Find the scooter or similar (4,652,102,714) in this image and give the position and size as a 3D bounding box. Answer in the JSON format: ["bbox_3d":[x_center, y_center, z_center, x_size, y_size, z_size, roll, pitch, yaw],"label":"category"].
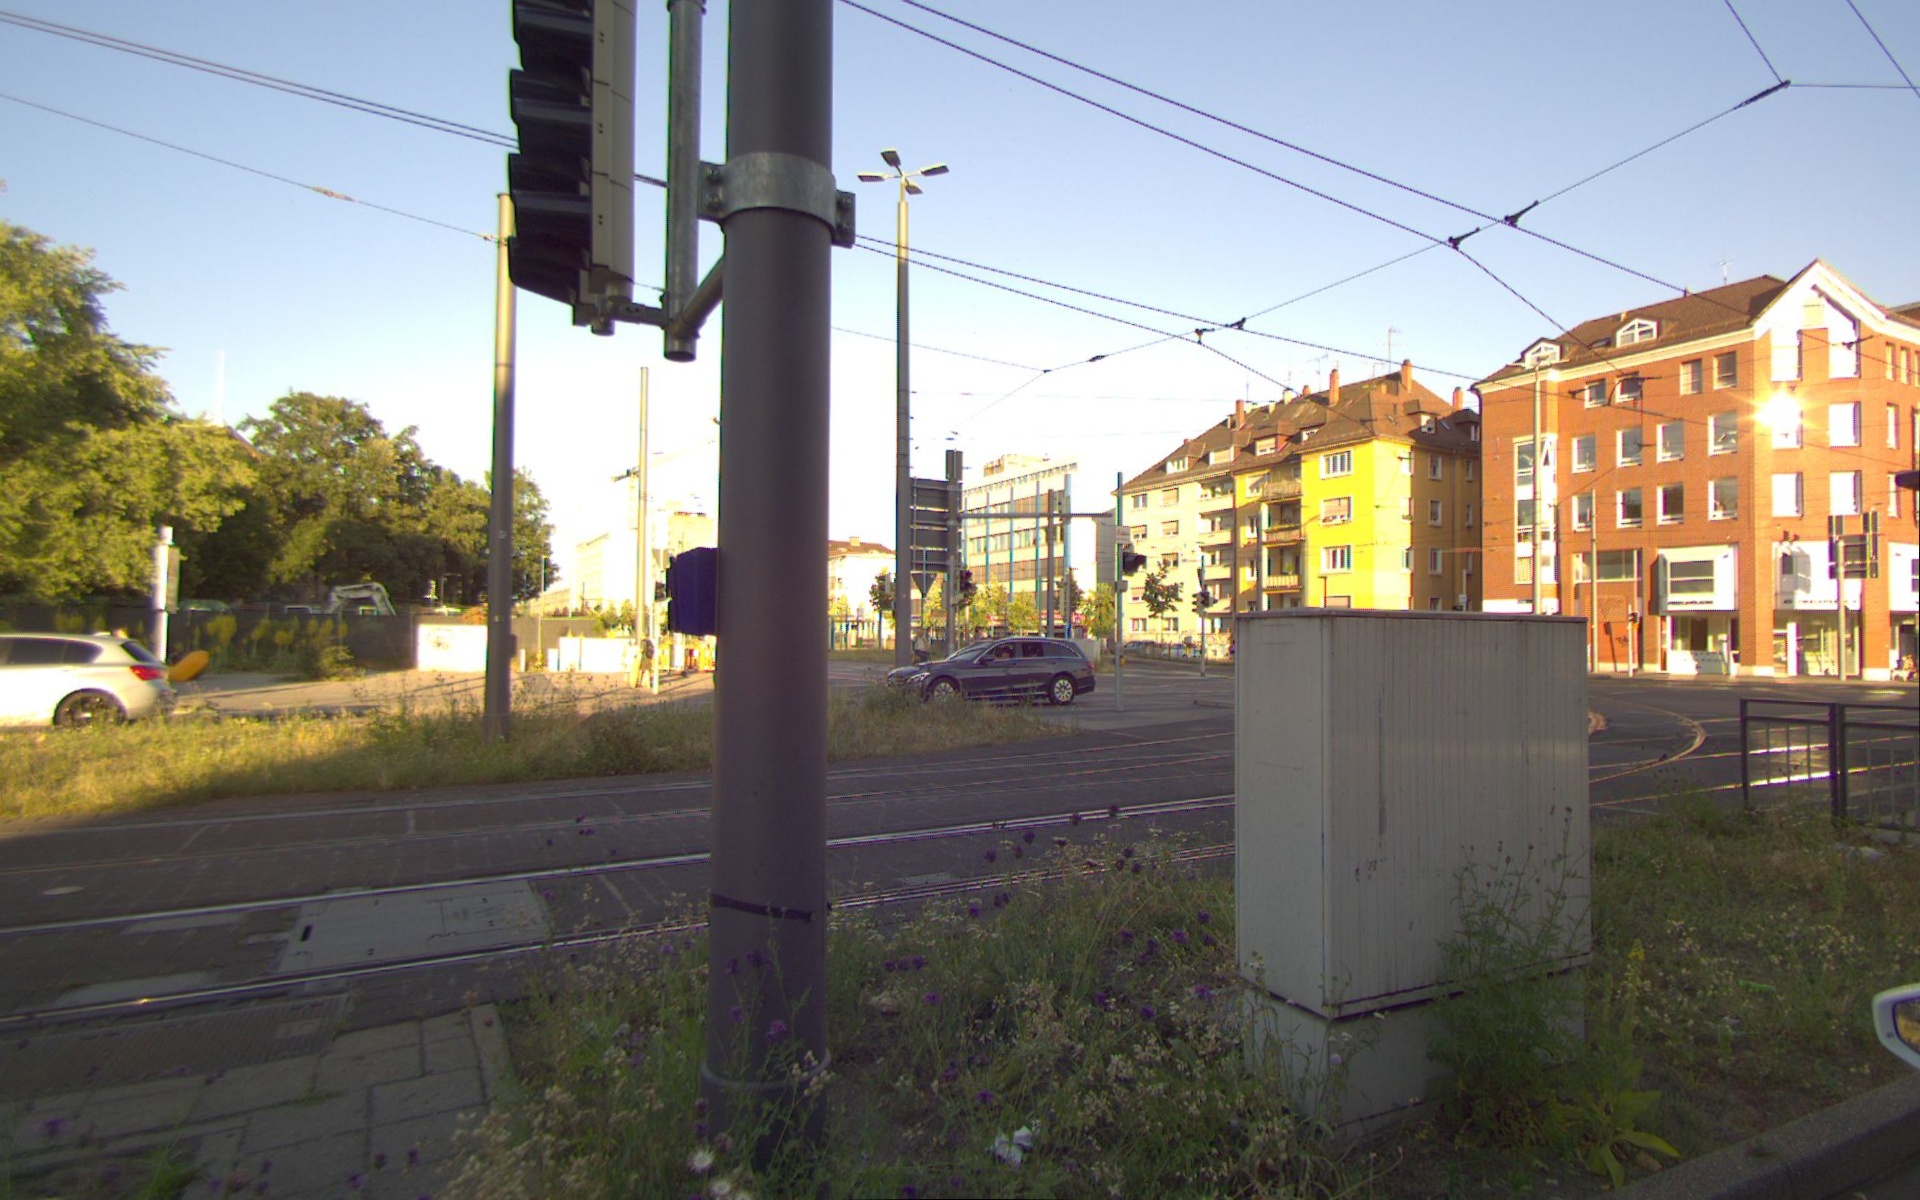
[{"bbox_3d":[-18.232,1.641,20.226,0.452,1.181,1.405,0,-2,16],"label":"scooter or similar"}]

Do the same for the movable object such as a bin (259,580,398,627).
[{"bbox_3d":[-28.281,0.171,45.099,4.924,2.040,2.001,0,-2,1],"label":"movable object such as a bin"}]

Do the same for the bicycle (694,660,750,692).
[{"bbox_3d":[-7.322,2.337,30.947,0.668,0.904,1.795,-1,-2,28],"label":"bicycle"}]

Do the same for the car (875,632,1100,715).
[{"bbox_3d":[0.583,1.528,21.370,4.354,1.537,1.988,2,0,-25],"label":"car"}]

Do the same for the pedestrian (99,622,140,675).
[{"bbox_3d":[-26.994,1.555,32.264,0.753,1.687,0.818,1,-2,-23],"label":"pedestrian"}]

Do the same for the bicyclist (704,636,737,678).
[{"bbox_3d":[-7.358,1.747,30.882,0.656,1.274,0.728,-1,-2,28],"label":"bicyclist"}]

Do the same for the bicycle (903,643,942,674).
[{"bbox_3d":[-1.307,2.003,34.504,0.589,1.036,1.833,1,-2,-29],"label":"bicycle"}]

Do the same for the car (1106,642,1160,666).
[{"bbox_3d":[14.424,4.531,83.882,2.096,1.726,4.313,6,-4,-31],"label":"car"}]

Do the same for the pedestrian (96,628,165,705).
[{"bbox_3d":[-19.349,1.536,23.441,0.812,1.746,0.880,0,-3,13],"label":"pedestrian"}]

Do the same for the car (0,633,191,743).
[{"bbox_3d":[-13.207,1.154,13.579,4.293,1.429,1.898,2,-2,-34],"label":"car"}]

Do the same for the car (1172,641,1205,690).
[{"bbox_3d":[17.936,5.166,78.853,1.712,3.610,1.407,-2,-7,-18],"label":"car"}]

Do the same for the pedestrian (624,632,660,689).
[{"bbox_3d":[-10.034,1.910,31.735,0.805,1.758,0.944,0,-2,-1],"label":"pedestrian"}]

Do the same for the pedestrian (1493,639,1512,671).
[{"bbox_3d":[30.706,3.094,56.850,0.808,1.802,0.632,1,-1,-38],"label":"pedestrian"}]

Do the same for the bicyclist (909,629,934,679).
[{"bbox_3d":[-1.324,1.858,34.545,0.589,1.693,0.742,1,-2,-30],"label":"bicyclist"}]

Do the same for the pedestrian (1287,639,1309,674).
[{"bbox_3d":[14.888,2.480,44.291,0.695,1.561,0.636,0,-2,-11],"label":"pedestrian"}]

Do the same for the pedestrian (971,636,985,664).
[{"bbox_3d":[1.038,2.872,57.486,0.558,1.611,0.686,1,-2,-26],"label":"pedestrian"}]

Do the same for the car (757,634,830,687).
[{"bbox_3d":[-5.691,1.999,33.939,1.918,1.682,4.521,1,-2,-16],"label":"car"}]
